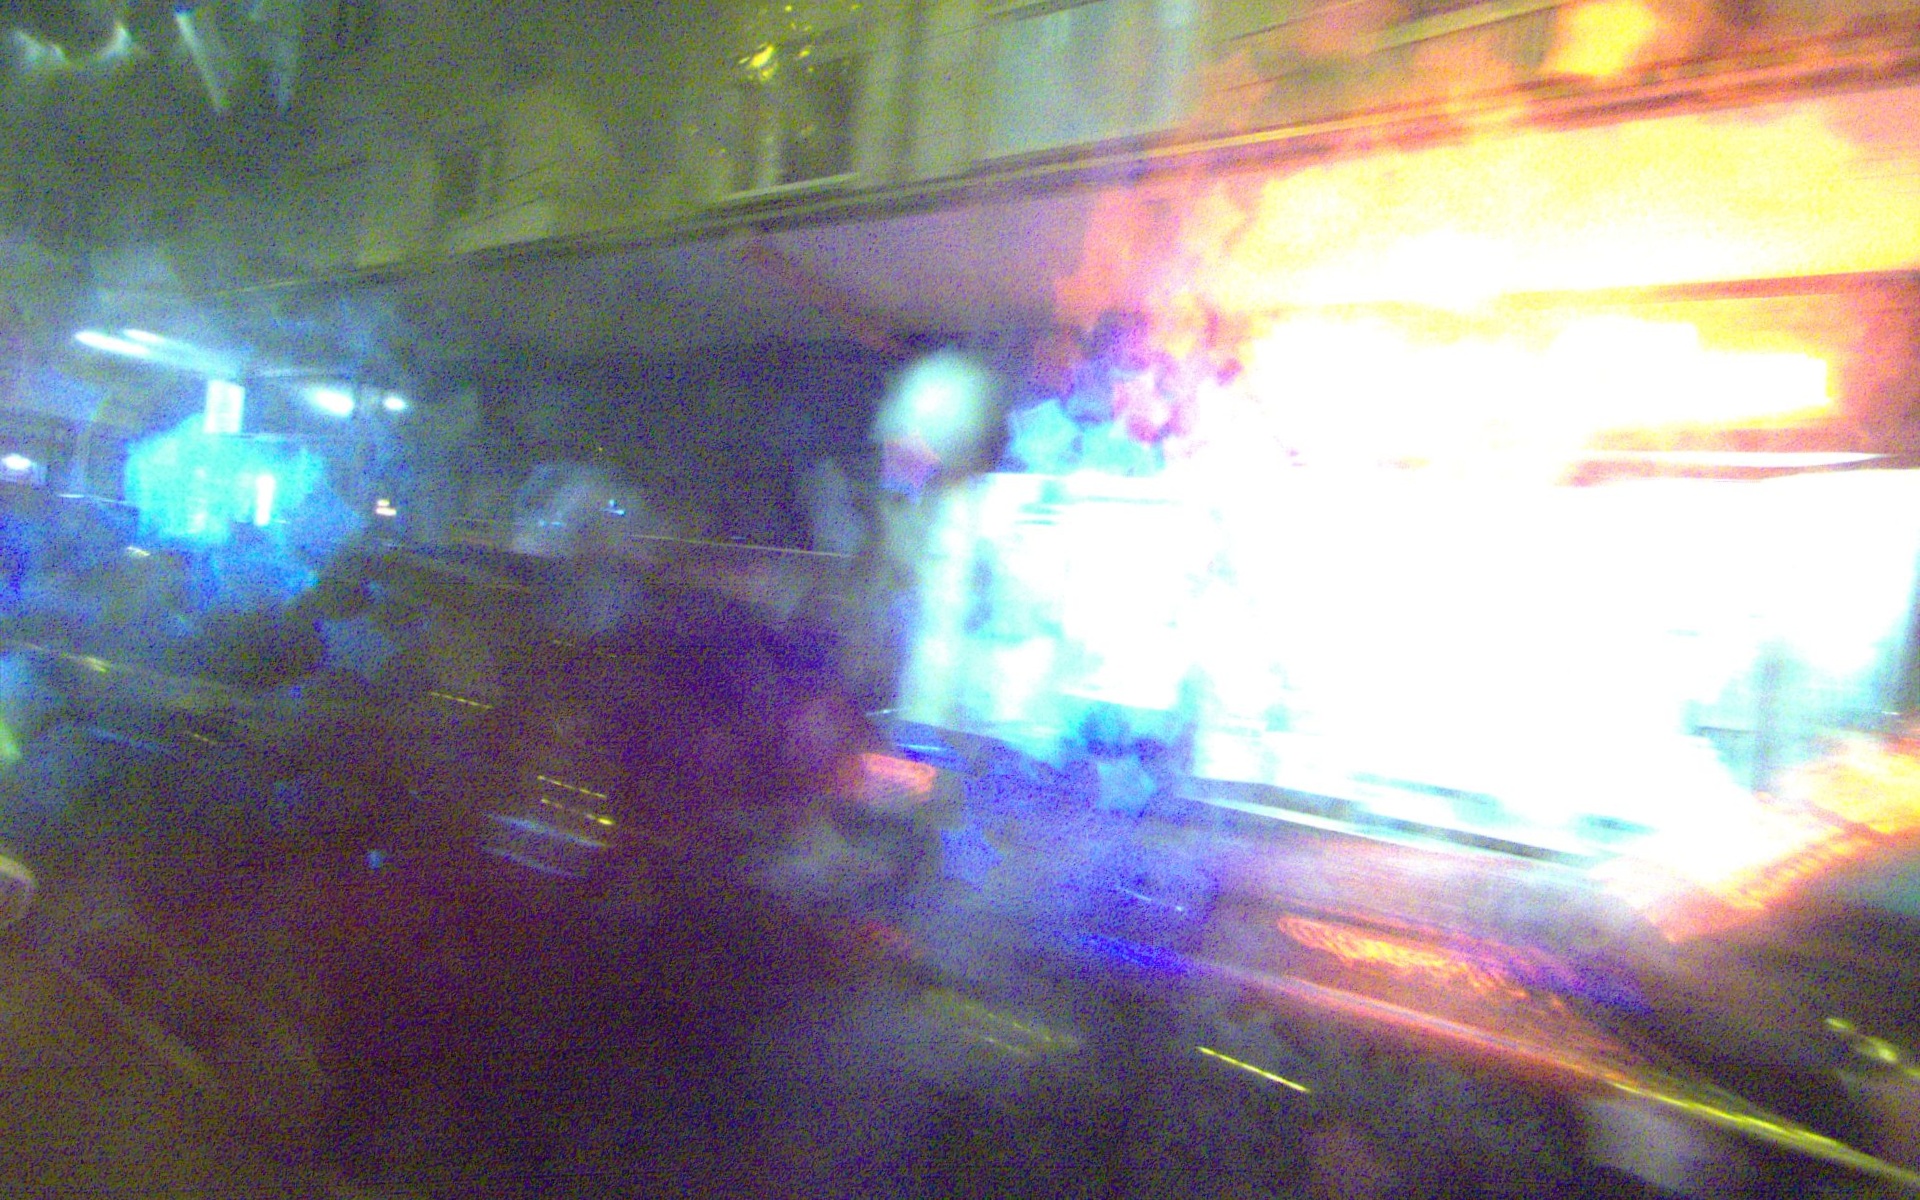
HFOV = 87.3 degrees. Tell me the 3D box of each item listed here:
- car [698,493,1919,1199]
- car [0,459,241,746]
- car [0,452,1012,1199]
[{"bbox_3d":[1.784,0.859,1.358,4.086,1.584,1.756,6,-2,31],"label":"car"},{"bbox_3d":[-6.979,-0.119,6.955,3.923,1.627,1.756,6,-2,31],"label":"car"},{"bbox_3d":[-2.190,0.422,3.700,4.325,1.556,1.756,6,-2,31],"label":"car"}]
